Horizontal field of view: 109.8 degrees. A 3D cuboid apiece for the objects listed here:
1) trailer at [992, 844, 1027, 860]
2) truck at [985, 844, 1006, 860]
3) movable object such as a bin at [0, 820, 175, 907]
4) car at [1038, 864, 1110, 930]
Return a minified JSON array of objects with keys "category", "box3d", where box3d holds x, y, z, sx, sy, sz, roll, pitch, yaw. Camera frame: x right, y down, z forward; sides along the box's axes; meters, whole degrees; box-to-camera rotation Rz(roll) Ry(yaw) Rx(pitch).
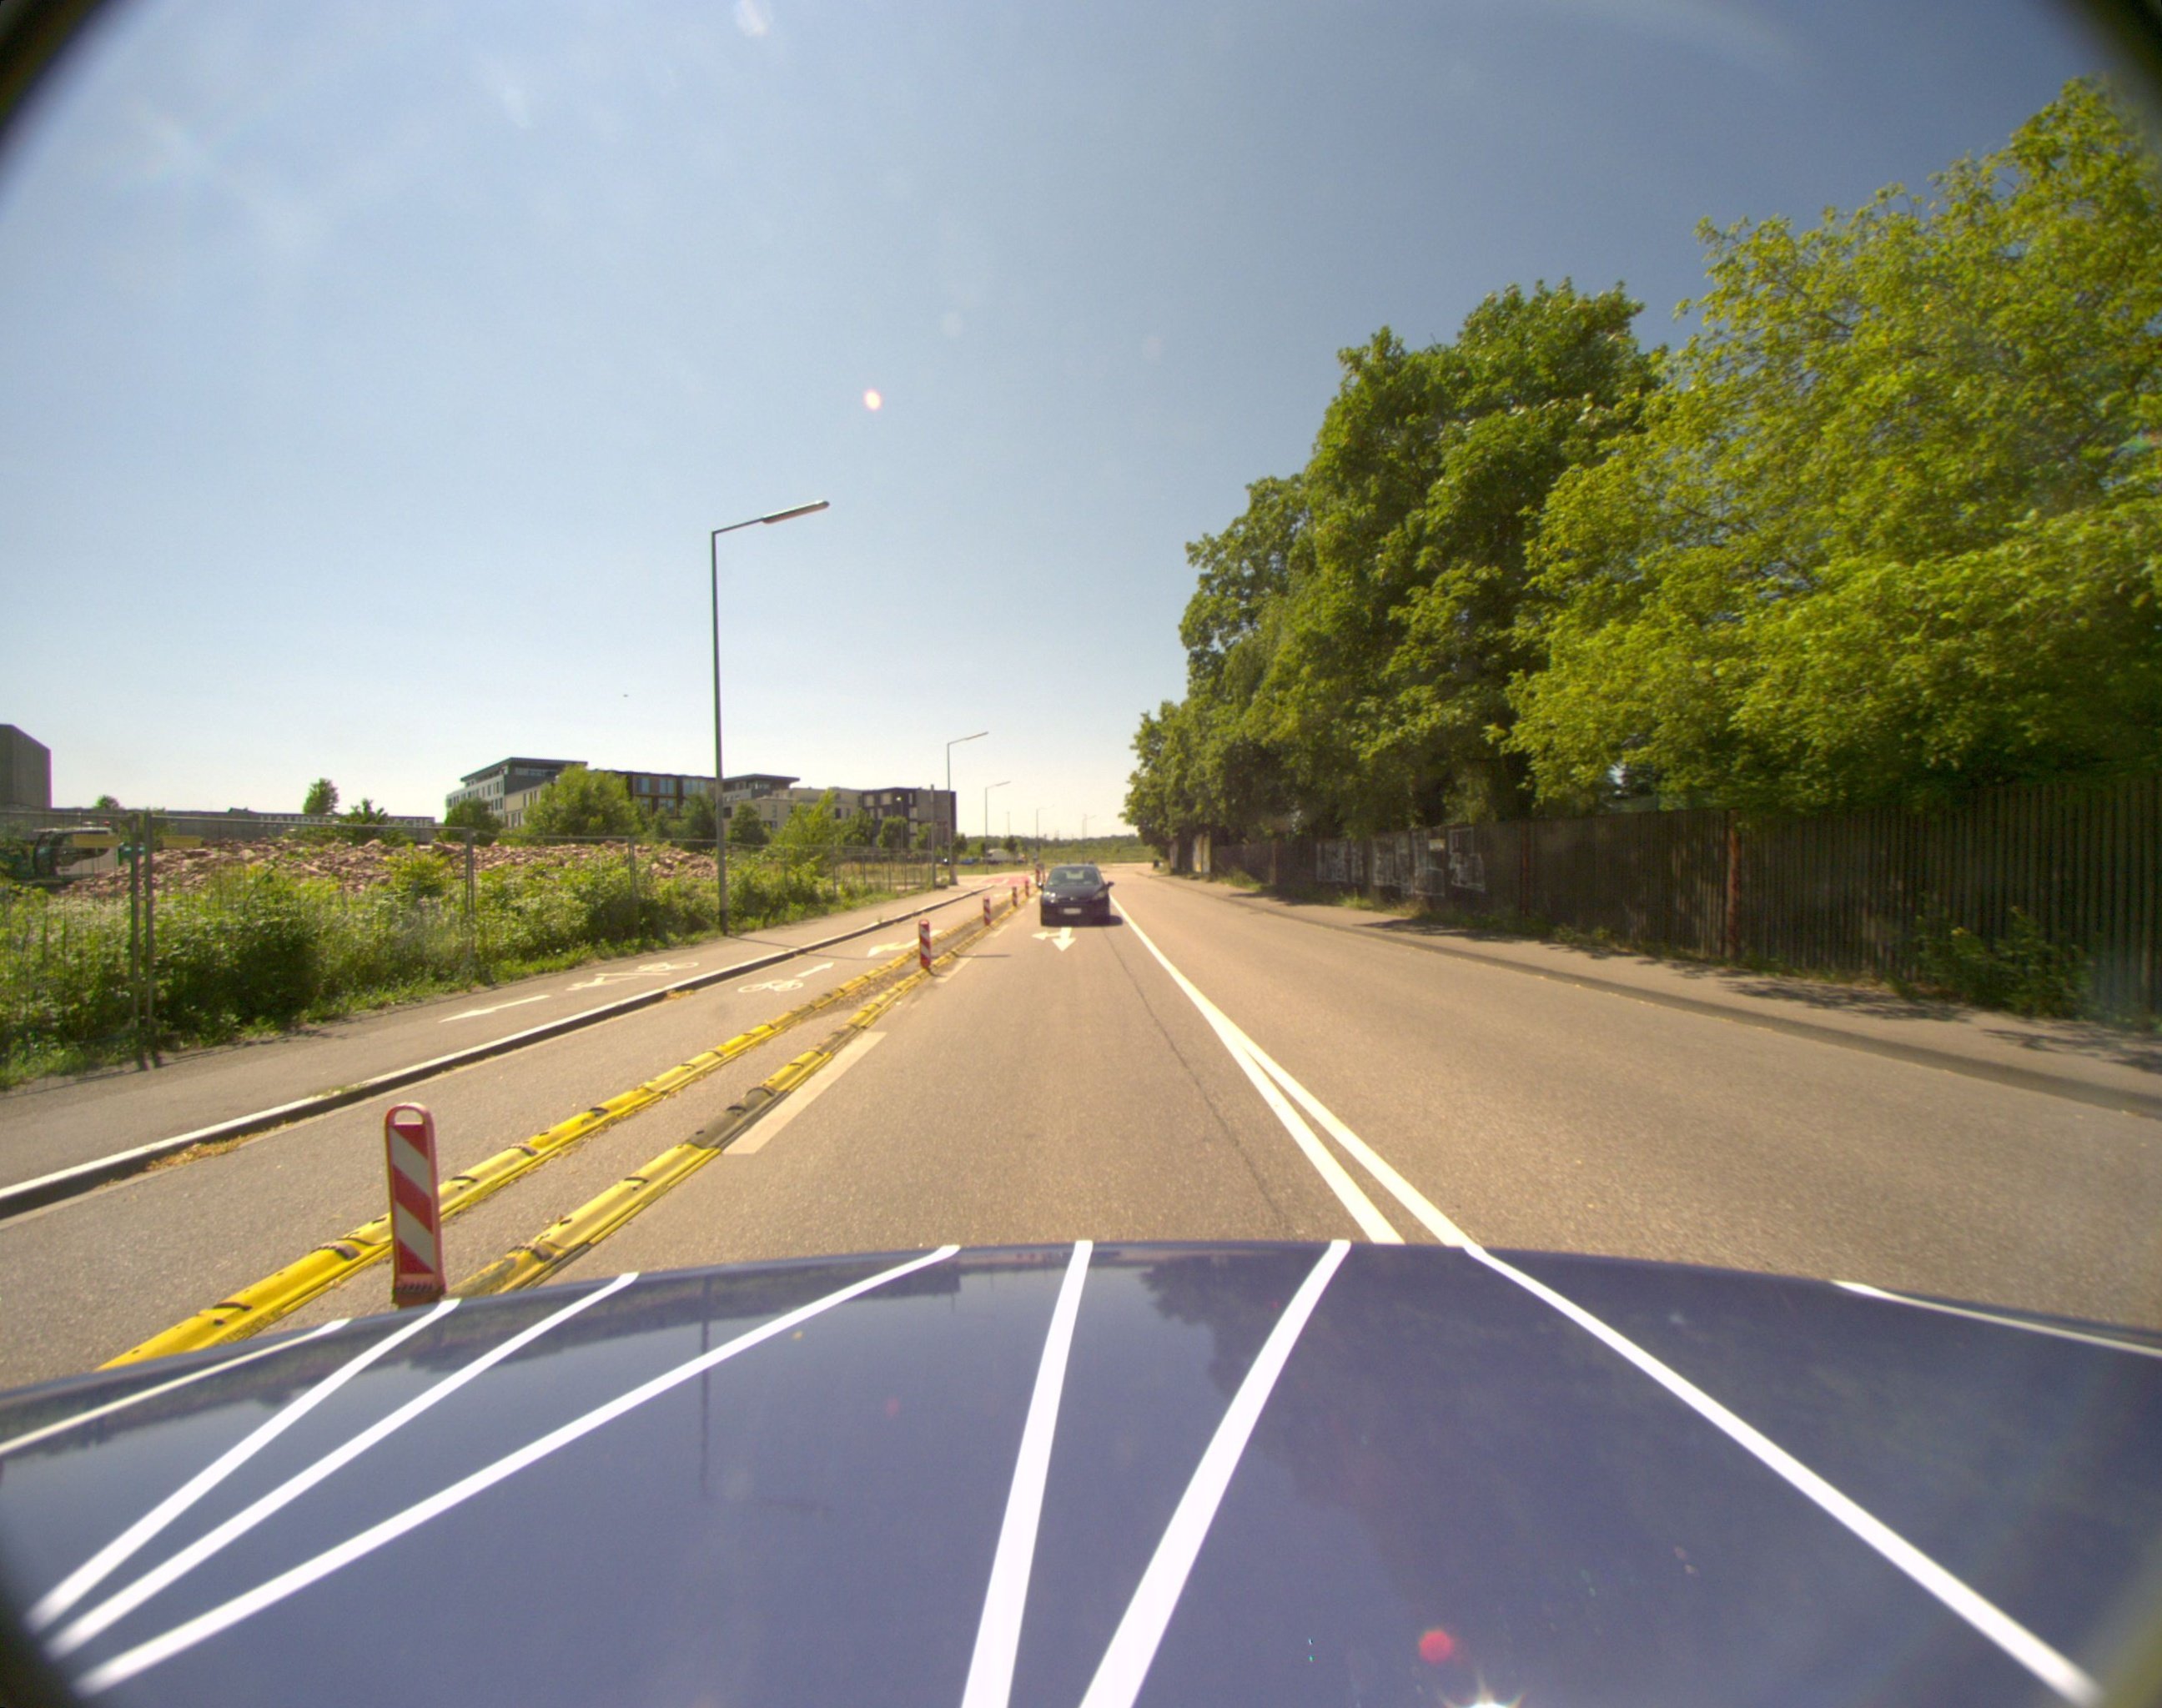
[{"category":"trailer","box3d":[-15.534,-0.407,165.542,8.194,3.329,1.994,-1,0,-45]},{"category":"truck","box3d":[-18.287,-0.404,162.798,4.008,3.316,1.994,-1,0,-45]},{"category":"movable object such as a bin","box3d":[-37.817,0.347,28.844,2.205,3.045,3.690,-2,1,6]},{"category":"car","box3d":[-0.147,1.008,19.456,1.602,1.422,4.000,-2,0,0]}]
